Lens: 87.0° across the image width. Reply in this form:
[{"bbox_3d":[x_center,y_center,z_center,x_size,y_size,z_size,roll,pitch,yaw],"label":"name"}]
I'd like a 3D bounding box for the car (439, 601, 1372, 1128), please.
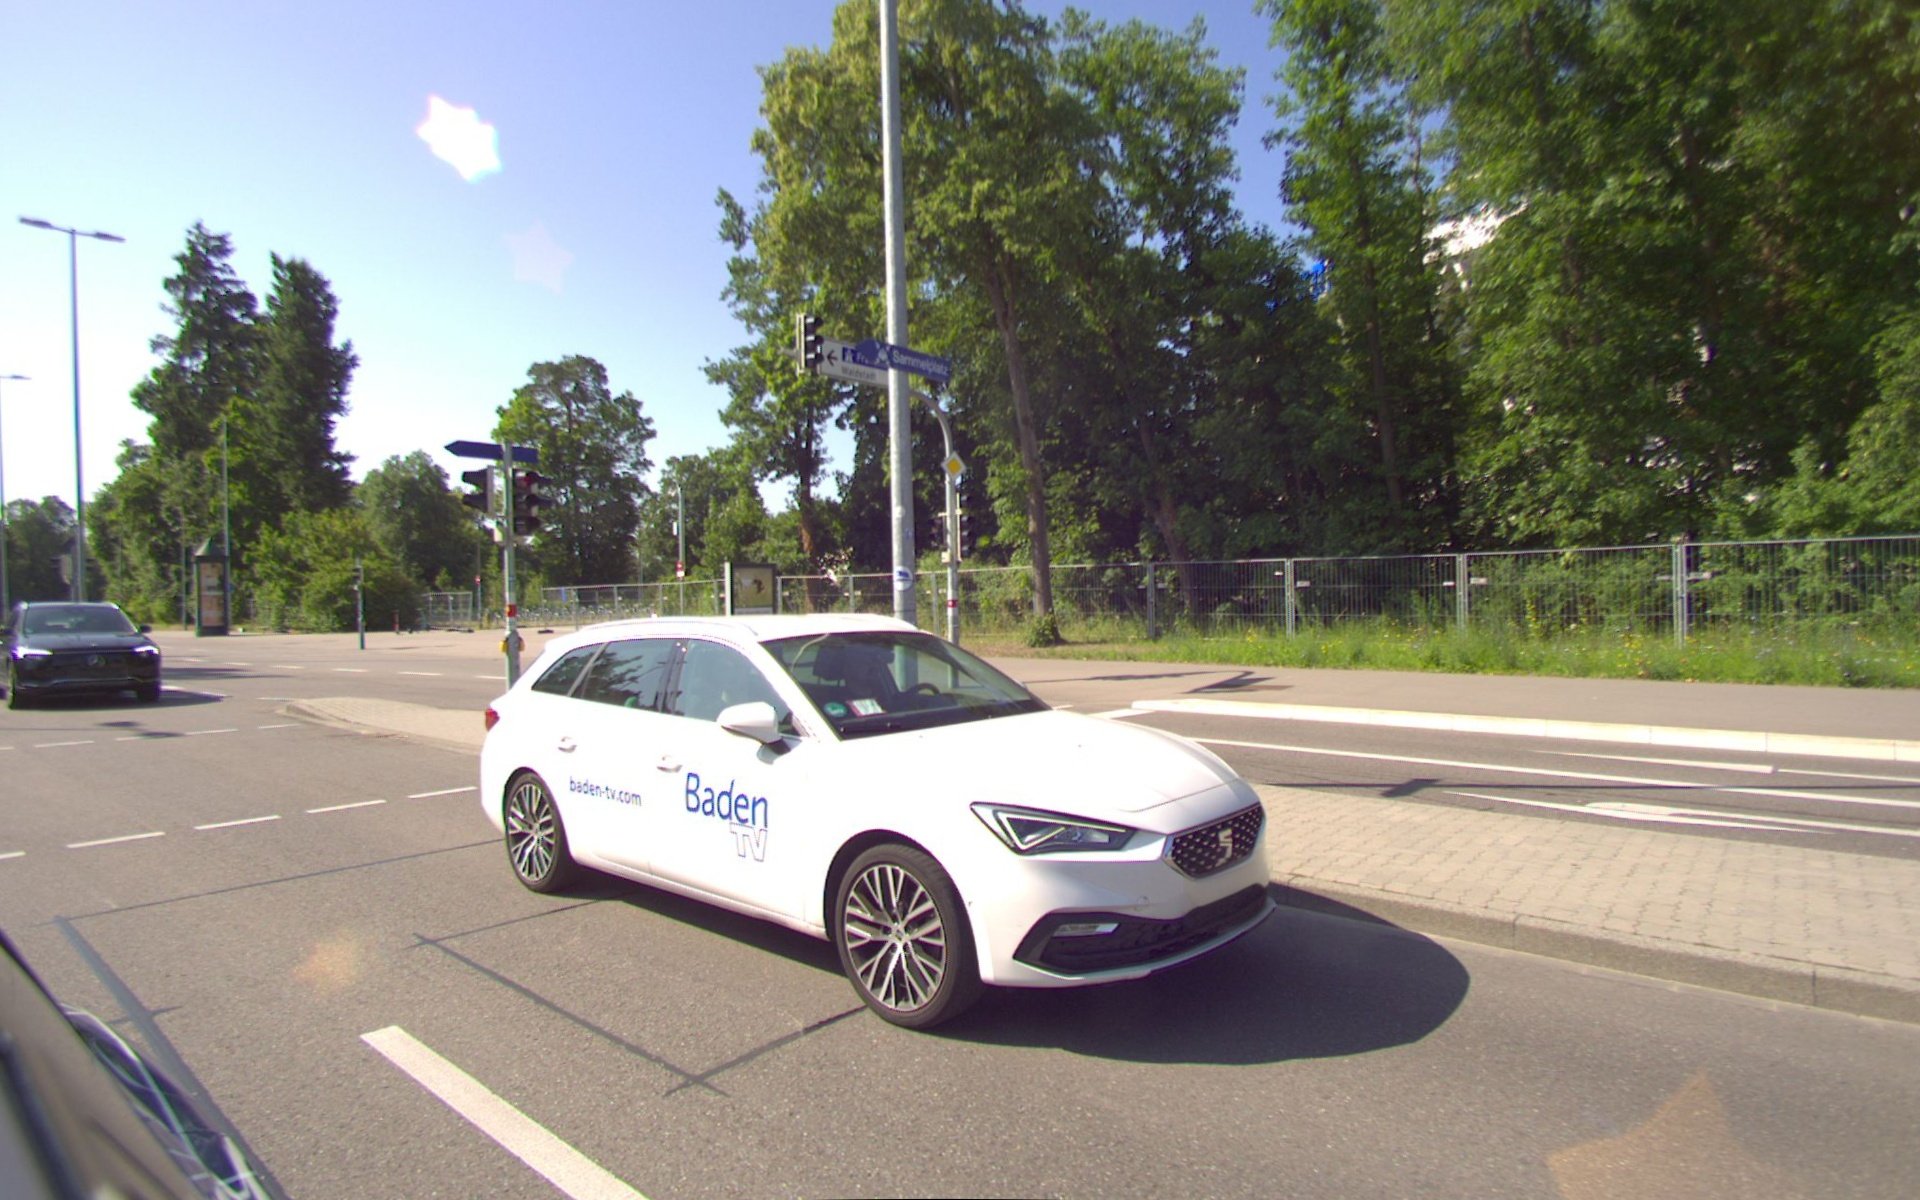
[{"bbox_3d":[-0.680,0.762,4.968,4.717,1.437,1.707,-1,-1,41],"label":"car"}]

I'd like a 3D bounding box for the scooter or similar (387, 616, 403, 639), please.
[{"bbox_3d":[-28.319,1.377,50.725,0.390,1.154,1.198,-1,0,-43],"label":"scooter or similar"}]

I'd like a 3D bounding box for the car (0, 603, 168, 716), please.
[{"bbox_3d":[-14.523,0.870,16.413,4.269,1.608,1.786,-1,-1,40],"label":"car"}]

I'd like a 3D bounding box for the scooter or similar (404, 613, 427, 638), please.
[{"bbox_3d":[-27.698,1.274,51.501,0.393,1.231,1.075,-1,0,17],"label":"scooter or similar"}]
